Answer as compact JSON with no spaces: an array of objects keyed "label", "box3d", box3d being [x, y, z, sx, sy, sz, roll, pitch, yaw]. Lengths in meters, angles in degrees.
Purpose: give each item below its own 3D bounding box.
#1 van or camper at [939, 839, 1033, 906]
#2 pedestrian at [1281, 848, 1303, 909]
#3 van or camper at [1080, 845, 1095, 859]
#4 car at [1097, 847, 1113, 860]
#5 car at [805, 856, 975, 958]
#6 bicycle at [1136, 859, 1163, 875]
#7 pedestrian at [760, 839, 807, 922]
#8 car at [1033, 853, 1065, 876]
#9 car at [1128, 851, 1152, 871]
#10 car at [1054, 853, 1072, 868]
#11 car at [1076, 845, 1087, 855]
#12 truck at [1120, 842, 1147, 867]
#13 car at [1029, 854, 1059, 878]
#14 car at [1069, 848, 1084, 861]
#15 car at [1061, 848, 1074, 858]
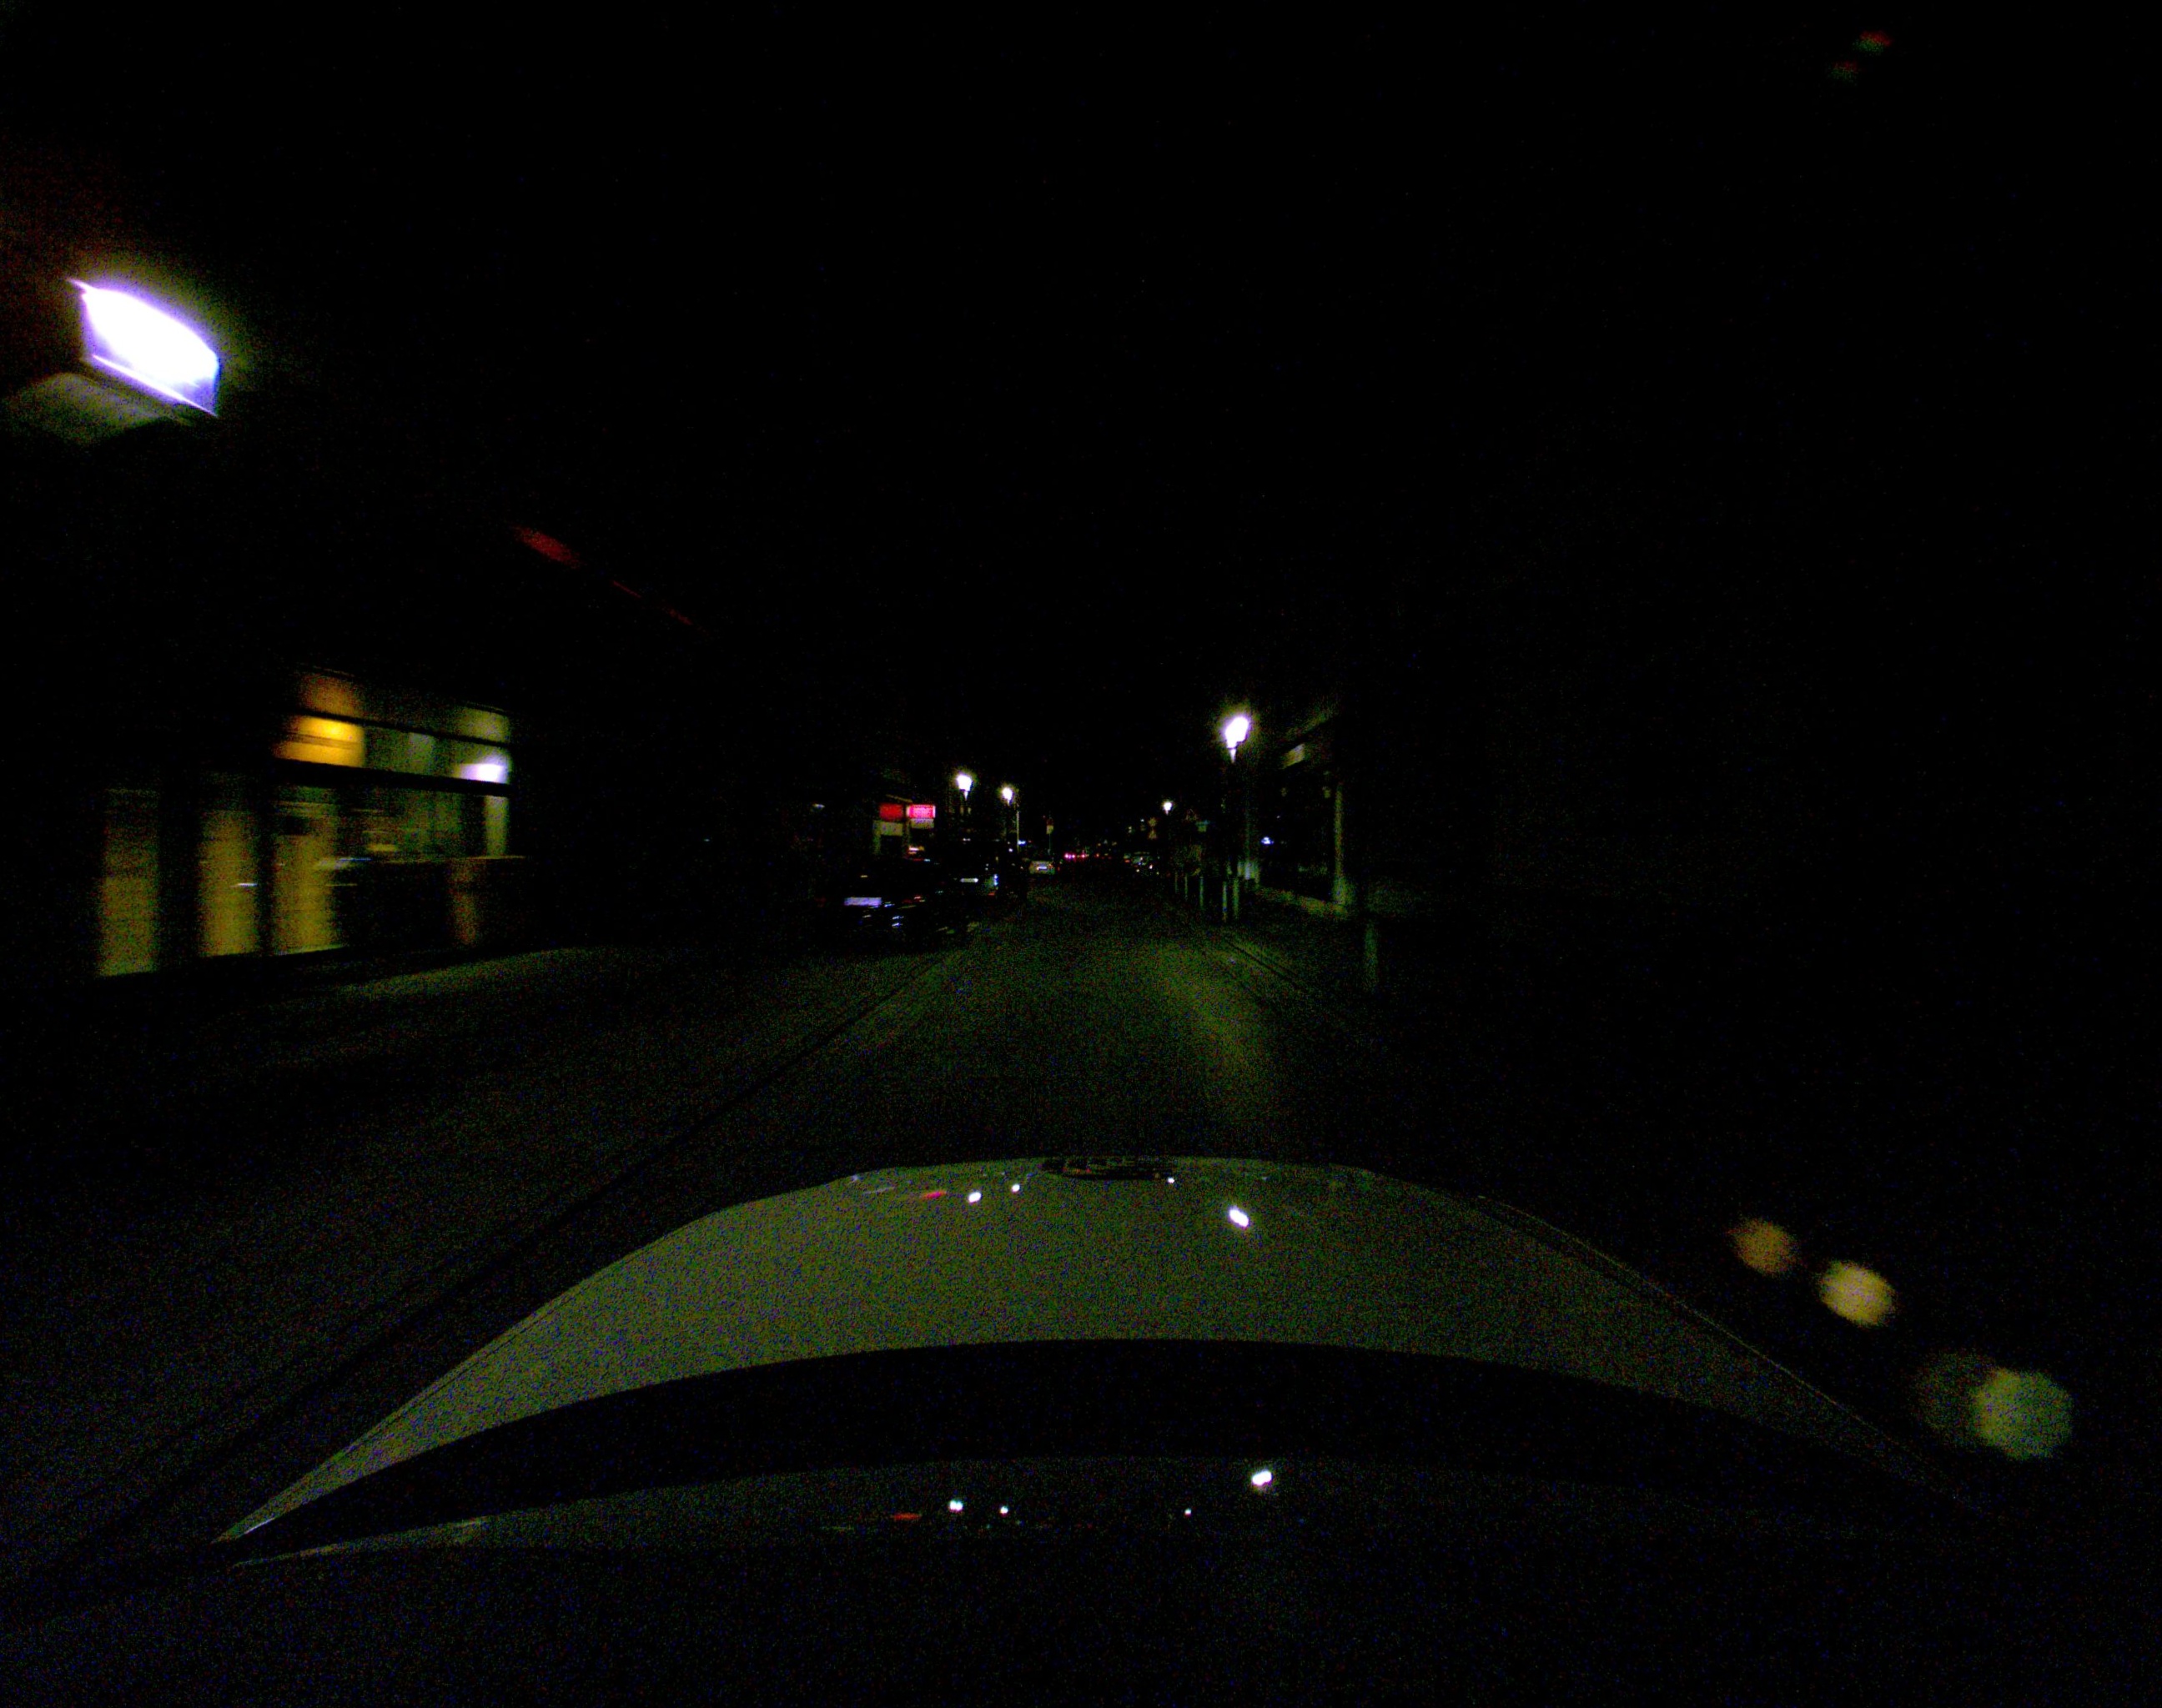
[{"label":"van or camper","box3d":[-2.888,0.522,26.029,1.836,1.942,5.163,0,0,6]},{"label":"pedestrian","box3d":[5.425,0.633,20.974,0.498,1.547,0.481,0,0,7]},{"label":"van or camper","box3d":[1.192,-0.383,142.608,2.106,2.317,4.253,-2,0,-6]},{"label":"car","box3d":[3.426,-0.064,116.523,1.812,1.828,4.339,-1,0,-5]},{"label":"car","box3d":[-3.027,0.769,13.888,1.710,1.413,4.387,1,0,2]},{"label":"bicycle","box3d":[4.547,0.873,54.374,1.750,1.062,0.346,-1,0,-2]},{"label":"pedestrian","box3d":[-6.461,0.561,17.731,0.619,1.745,1.023,0,0,1]},{"label":"car","box3d":[-2.202,0.706,57.171,2.013,1.488,5.007,2,0,0]},{"label":"car","box3d":[4.721,0.542,65.724,1.782,1.491,4.061,-2,0,2]},{"label":"car","box3d":[-1.887,0.654,85.709,1.671,1.543,4.223,0,0,-5]},{"label":"car","box3d":[0.049,-0.867,161.832,1.836,1.901,3.840,-1,0,-4]},{"label":"truck","box3d":[5.186,0.019,81.365,2.328,2.312,5.781,-1,0,0]},{"label":"car","box3d":[-2.341,0.730,52.138,1.723,1.477,3.846,0,0,0]},{"label":"car","box3d":[-0.664,0.029,119.961,1.989,1.823,3.995,-1,0,-3]},{"label":"car","box3d":[-2.195,-0.178,133.990,1.990,1.702,3.994,-1,0,-4]}]
